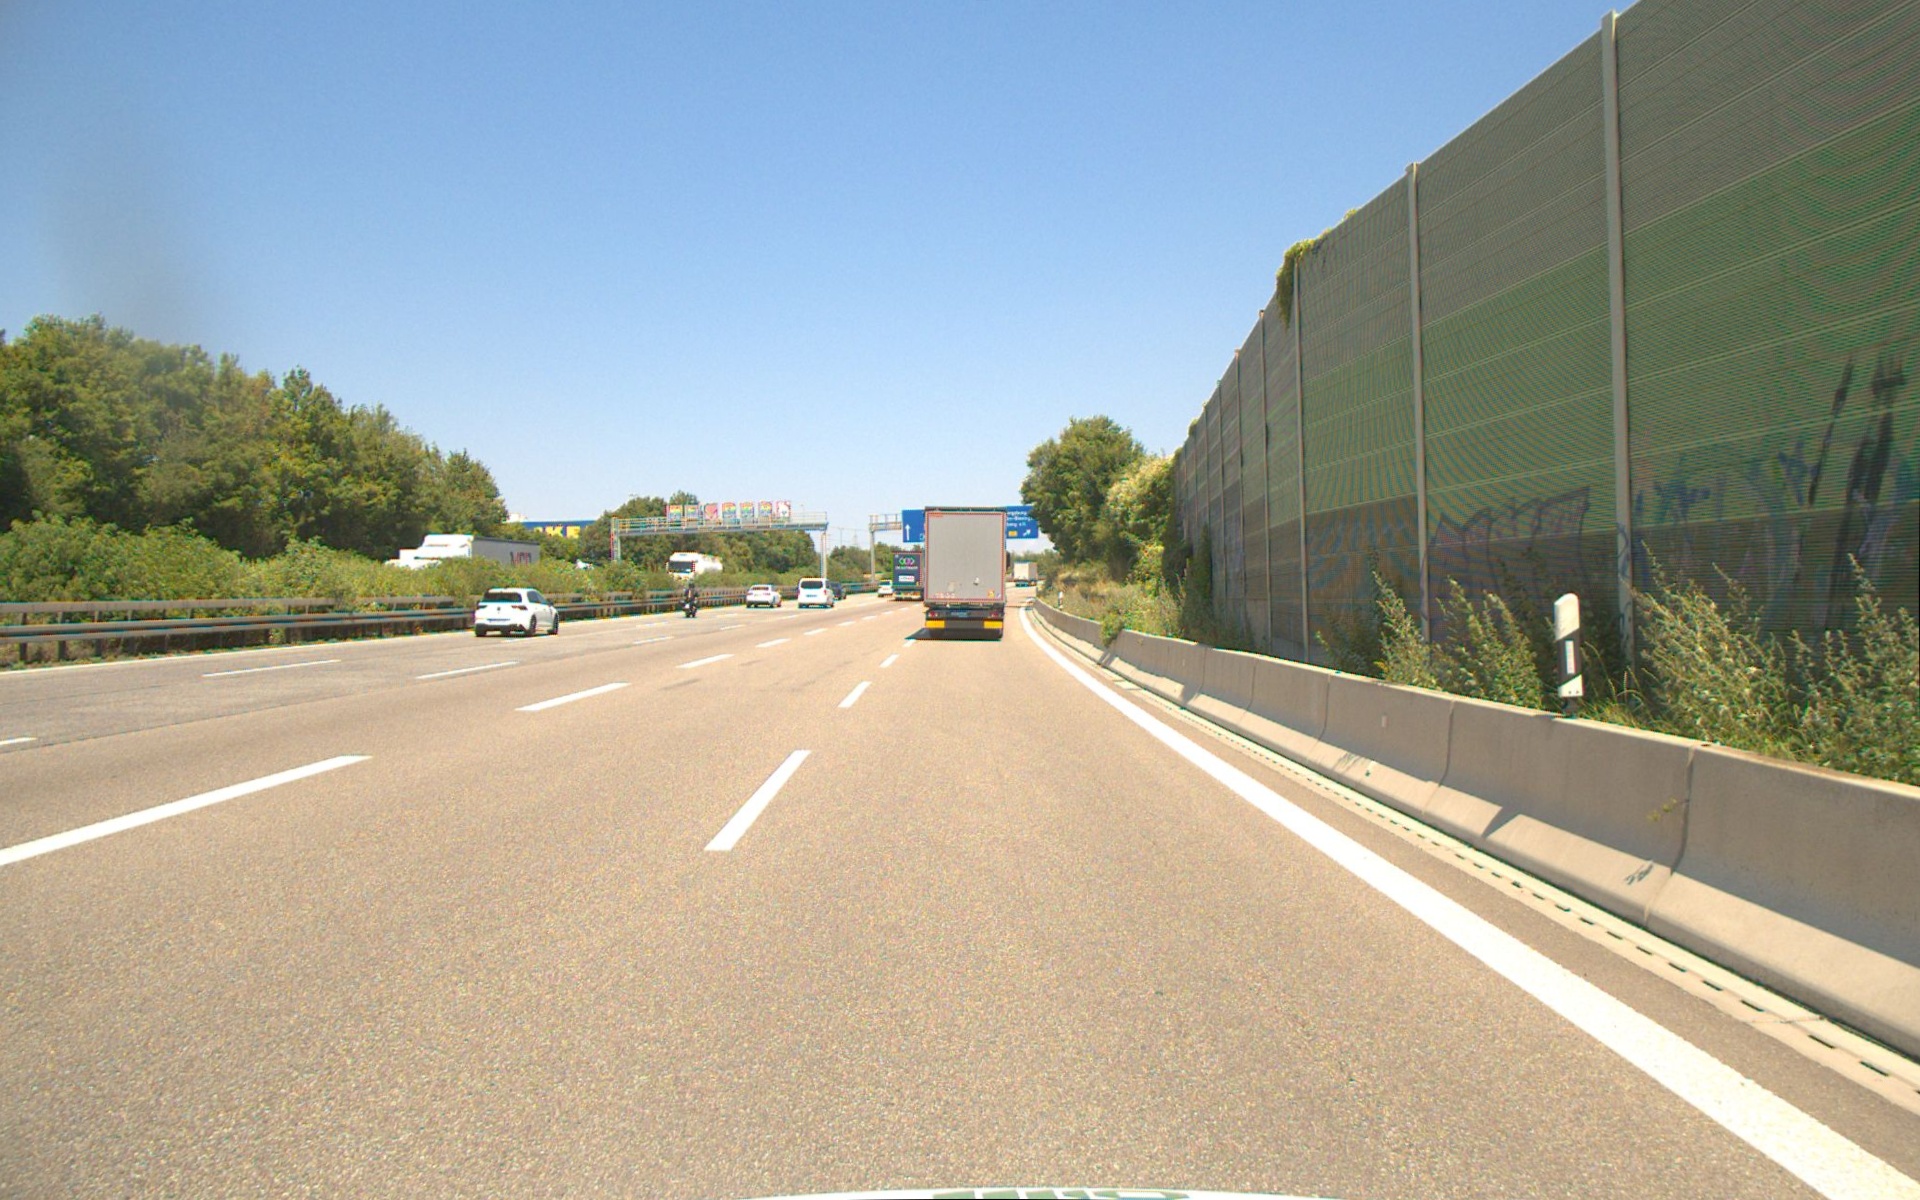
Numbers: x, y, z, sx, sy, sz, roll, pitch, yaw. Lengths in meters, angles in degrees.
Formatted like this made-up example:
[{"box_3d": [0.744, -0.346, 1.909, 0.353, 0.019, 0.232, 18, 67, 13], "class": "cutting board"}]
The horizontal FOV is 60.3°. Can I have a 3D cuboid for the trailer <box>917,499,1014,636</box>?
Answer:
[{"box_3d": [0.070, -0.966, 55.935, 2.868, 4.086, 12.035, -1, 0, -1], "class": "trailer"}]

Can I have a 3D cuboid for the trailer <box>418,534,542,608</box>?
[{"box_3d": [-28.746, -1.681, 99.947, 3.322, 4.161, 13.928, 0, 0, 1], "class": "trailer"}]

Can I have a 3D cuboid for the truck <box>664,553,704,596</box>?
[{"box_3d": [-25.806, -2.382, 154.826, 2.639, 3.956, 5.747, 0, 1, 2], "class": "truck"}]

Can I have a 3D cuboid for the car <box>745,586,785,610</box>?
[{"box_3d": [-12.604, -0.100, 106.935, 1.837, 1.466, 5.126, 0, -1, 2], "class": "car"}]

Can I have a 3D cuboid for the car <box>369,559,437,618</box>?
[{"box_3d": [-26.029, -0.534, 77.387, 1.803, 2.693, 4.316, 0, 0, -1], "class": "car"}]

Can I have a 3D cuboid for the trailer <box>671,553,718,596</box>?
[{"box_3d": [-25.609, -2.475, 160.059, 2.634, 3.956, 9.737, 0, 1, 2], "class": "trailer"}]

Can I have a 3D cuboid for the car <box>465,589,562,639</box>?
[{"box_3d": [-13.707, 0.398, 51.040, 1.745, 1.465, 4.668, 0, 0, 0], "class": "car"}]

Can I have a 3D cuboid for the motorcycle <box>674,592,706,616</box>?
[{"box_3d": [-12.906, 0.183, 79.164, 0.893, 1.108, 2.851, -1, 0, 3], "class": "motorcycle"}]

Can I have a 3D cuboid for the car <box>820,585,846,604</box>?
[{"box_3d": [-10.716, -0.496, 139.903, 1.720, 1.433, 5.041, -1, 1, 1], "class": "car"}]

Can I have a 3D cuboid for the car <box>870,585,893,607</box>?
[{"box_3d": [-7.407, -0.413, 157.058, 1.865, 1.883, 4.632, -1, 2, 1], "class": "car"}]

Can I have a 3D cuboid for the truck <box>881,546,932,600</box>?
[{"box_3d": [-4.440, -2.317, 141.549, 3.670, 4.344, 14.498, 0, 1, 1], "class": "truck"}]

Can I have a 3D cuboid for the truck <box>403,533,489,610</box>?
[{"box_3d": [-28.815, -1.583, 92.999, 3.264, 4.161, 4.828, 0, 0, 1], "class": "truck"}]

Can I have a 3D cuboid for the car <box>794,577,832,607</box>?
[{"box_3d": [-9.437, -0.541, 106.197, 1.891, 1.884, 4.693, -1, 1, 1], "class": "car"}]

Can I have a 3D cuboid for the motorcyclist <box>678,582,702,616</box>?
[{"box_3d": [-12.903, -0.047, 79.149, 0.874, 1.625, 1.300, -1, -1, 3], "class": "motorcyclist"}]
